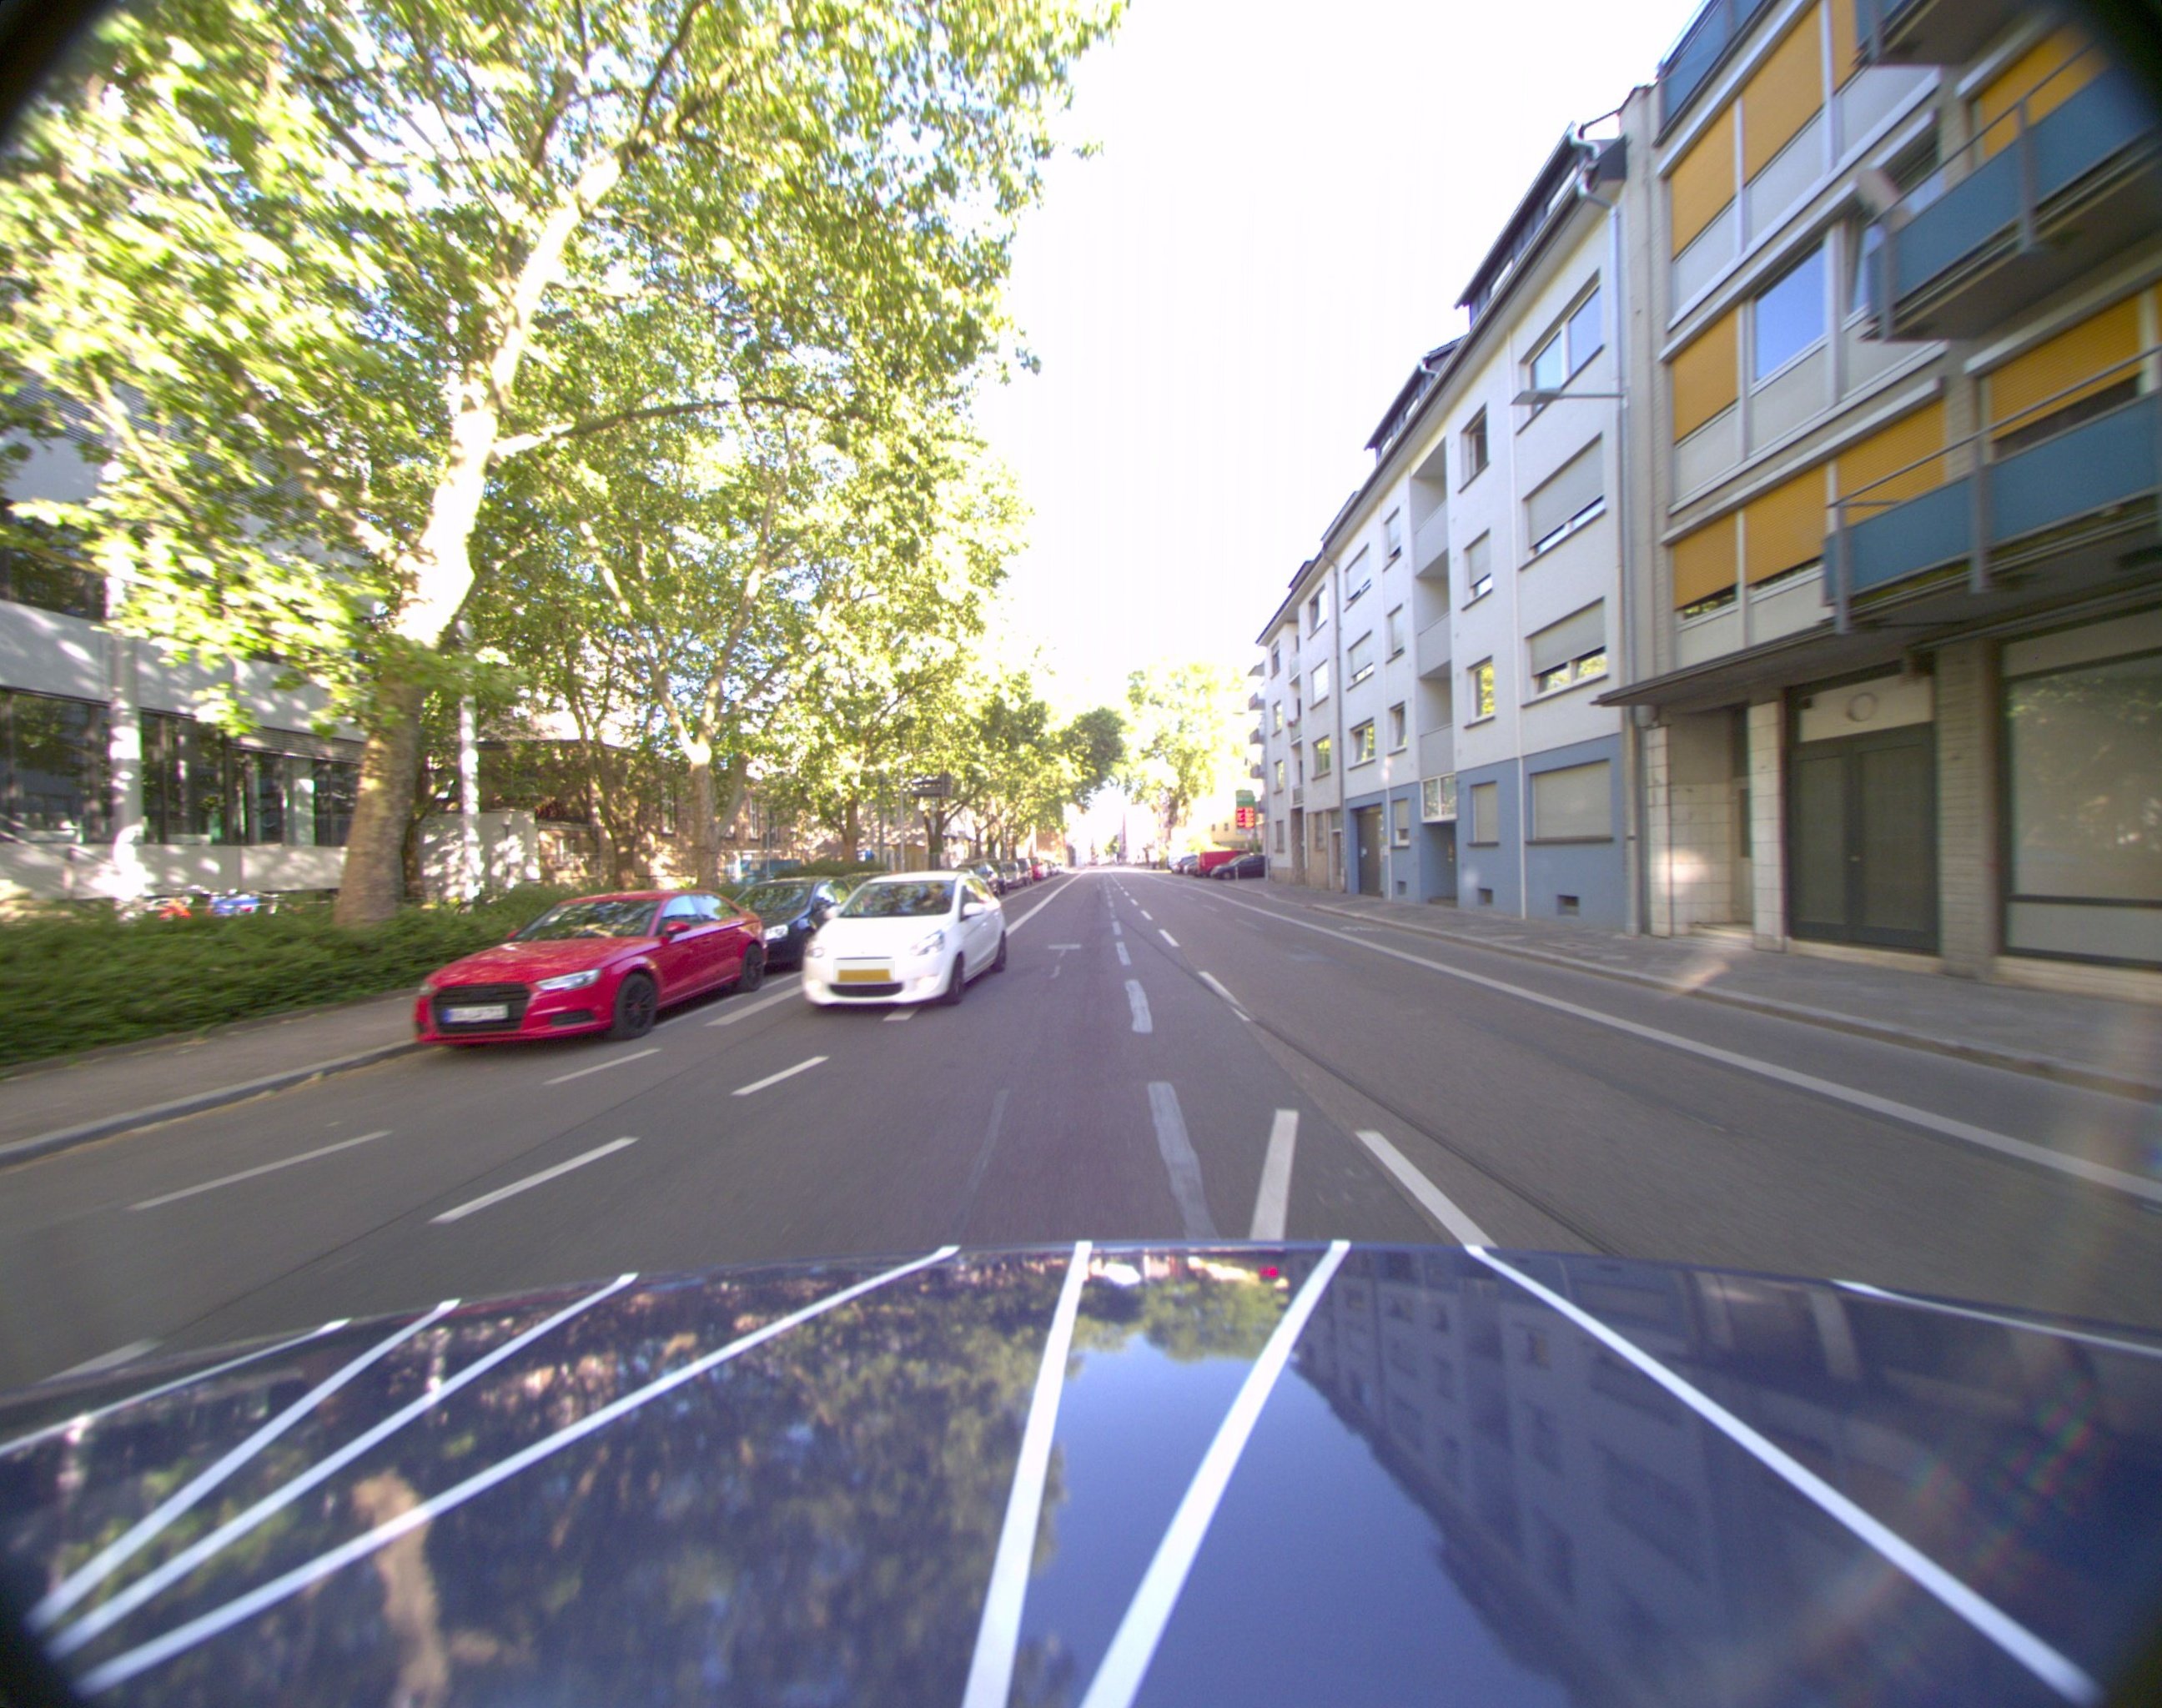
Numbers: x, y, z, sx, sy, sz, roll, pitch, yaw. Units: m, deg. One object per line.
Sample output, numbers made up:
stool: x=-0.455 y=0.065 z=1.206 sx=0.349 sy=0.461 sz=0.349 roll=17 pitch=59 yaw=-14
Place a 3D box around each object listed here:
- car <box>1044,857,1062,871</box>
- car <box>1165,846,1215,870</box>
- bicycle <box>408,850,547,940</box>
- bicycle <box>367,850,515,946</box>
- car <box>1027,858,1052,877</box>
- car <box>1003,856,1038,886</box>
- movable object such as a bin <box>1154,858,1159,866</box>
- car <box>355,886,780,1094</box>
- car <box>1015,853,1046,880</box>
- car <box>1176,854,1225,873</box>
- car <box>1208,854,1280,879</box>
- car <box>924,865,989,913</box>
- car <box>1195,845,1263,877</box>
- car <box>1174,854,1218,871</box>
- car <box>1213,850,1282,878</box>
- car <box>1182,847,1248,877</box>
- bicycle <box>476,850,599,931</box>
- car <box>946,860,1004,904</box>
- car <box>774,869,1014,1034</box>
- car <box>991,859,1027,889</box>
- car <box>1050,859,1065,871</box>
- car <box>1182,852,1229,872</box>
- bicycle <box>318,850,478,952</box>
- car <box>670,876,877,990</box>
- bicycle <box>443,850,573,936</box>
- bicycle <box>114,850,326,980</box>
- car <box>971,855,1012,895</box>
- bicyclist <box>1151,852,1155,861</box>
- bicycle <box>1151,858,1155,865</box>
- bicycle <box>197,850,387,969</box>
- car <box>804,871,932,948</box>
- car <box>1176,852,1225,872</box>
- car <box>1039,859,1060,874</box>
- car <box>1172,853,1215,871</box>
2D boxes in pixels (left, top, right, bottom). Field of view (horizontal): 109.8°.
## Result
car: x=-3.191 y=1.138 z=87.387 sx=1.860 sy=1.514 sz=4.297 roll=-3 pitch=0 yaw=1
car: x=11.441 y=0.450 z=79.987 sx=4.856 sy=2.204 sz=2.140 roll=-3 pitch=0 yaw=1
bicycle: x=-14.008 y=0.938 z=17.678 sx=2.604 sy=2.002 sz=0.742 roll=-1 pitch=0 yaw=1
bicycle: x=-14.009 y=0.945 z=16.670 sx=2.604 sy=2.002 sz=0.742 roll=-1 pitch=0 yaw=1
car: x=-3.609 y=1.179 z=66.530 sx=1.641 sy=1.476 sz=3.760 roll=-4 pitch=0 yaw=3
car: x=-3.924 y=1.063 z=50.105 sx=1.697 sy=1.802 sz=4.131 roll=-4 pitch=0 yaw=3
movable object such as a bin: x=10.964 y=1.153 z=110.013 sx=0.595 sy=1.065 sz=0.645 roll=-1 pitch=0 yaw=2
car: x=-5.129 y=1.217 z=8.508 sx=1.697 sy=1.441 sz=4.435 roll=-4 pitch=0 yaw=-1
car: x=-4.062 y=0.955 z=61.449 sx=2.083 sy=1.982 sz=5.171 roll=-3 pitch=0 yaw=-1
car: x=10.588 y=0.842 z=67.295 sx=3.997 sy=1.447 sz=1.916 roll=-3 pitch=0 yaw=1
car: x=10.555 y=0.804 z=49.561 sx=4.239 sy=1.372 sz=2.046 roll=-3 pitch=1 yaw=2
car: x=-4.462 y=1.218 z=27.767 sx=1.697 sy=1.494 sz=4.020 roll=-4 pitch=0 yaw=-1
car: x=10.622 y=0.515 z=54.776 sx=4.432 sy=1.940 sz=2.146 roll=-4 pitch=0 yaw=2
car: x=11.067 y=0.818 z=73.307 sx=3.997 sy=1.424 sz=1.853 roll=-3 pitch=0 yaw=1
car: x=11.300 y=0.685 z=51.759 sx=4.183 sy=1.554 sz=1.886 roll=-4 pitch=0 yaw=2
car: x=10.120 y=0.587 z=57.522 sx=4.533 sy=1.940 sz=2.057 roll=-4 pitch=0 yaw=2
bicycle: x=-13.925 y=0.922 z=19.506 sx=2.604 sy=2.002 sz=0.742 roll=-1 pitch=0 yaw=1
car: x=-4.516 y=1.156 z=32.961 sx=1.780 sy=1.618 sz=4.620 roll=-4 pitch=0 yaw=0
car: x=-2.061 y=1.035 z=9.499 sx=1.682 sy=1.490 sz=3.686 roll=-3 pitch=0 yaw=6
car: x=-4.260 y=1.147 z=45.549 sx=1.697 sy=1.618 sz=4.329 roll=-4 pitch=0 yaw=-1
car: x=-2.998 y=1.403 z=97.626 sx=1.860 sy=1.428 sz=4.969 roll=-2 pitch=0 yaw=-2
car: x=10.676 y=0.664 z=65.171 sx=3.694 sy=1.504 sz=1.831 roll=-4 pitch=0 yaw=1
bicycle: x=-14.032 y=0.952 z=15.654 sx=2.604 sy=2.002 sz=0.742 roll=-1 pitch=0 yaw=1
car: x=-5.060 y=1.225 z=13.170 sx=1.697 sy=1.458 sz=4.066 roll=-4 pitch=0 yaw=2
bicycle: x=-13.979 y=0.931 z=18.577 sx=2.604 sy=2.002 sz=0.742 roll=-1 pitch=0 yaw=1
bicycle: x=-14.010 y=0.972 z=12.404 sx=2.604 sy=2.002 sz=0.742 roll=-1 pitch=0 yaw=1
car: x=-4.572 y=1.030 z=38.781 sx=1.830 sy=1.830 sz=4.896 roll=-4 pitch=0 yaw=-7
bicyclist: x=12.219 y=0.393 z=128.948 sx=0.608 sy=1.535 sz=0.934 roll=0 pitch=0 yaw=1
bicycle: x=12.200 y=1.268 z=128.575 sx=0.608 sy=1.232 sz=2.050 roll=0 pitch=-1 yaw=1
bicycle: x=-14.054 y=0.967 z=13.573 sx=2.604 sy=2.002 sz=0.742 roll=-1 pitch=0 yaw=1
car: x=-5.011 y=1.239 z=18.489 sx=1.697 sy=1.470 sz=4.319 roll=-4 pitch=0 yaw=2
car: x=11.108 y=0.733 z=70.772 sx=4.204 sy=1.674 sz=2.028 roll=-3 pitch=0 yaw=1
car: x=-3.349 y=1.332 z=81.321 sx=1.860 sy=1.513 sz=4.599 roll=-3 pitch=0 yaw=1
car: x=11.149 y=0.796 z=75.433 sx=3.997 sy=1.550 sz=1.853 roll=-3 pitch=0 yaw=1
